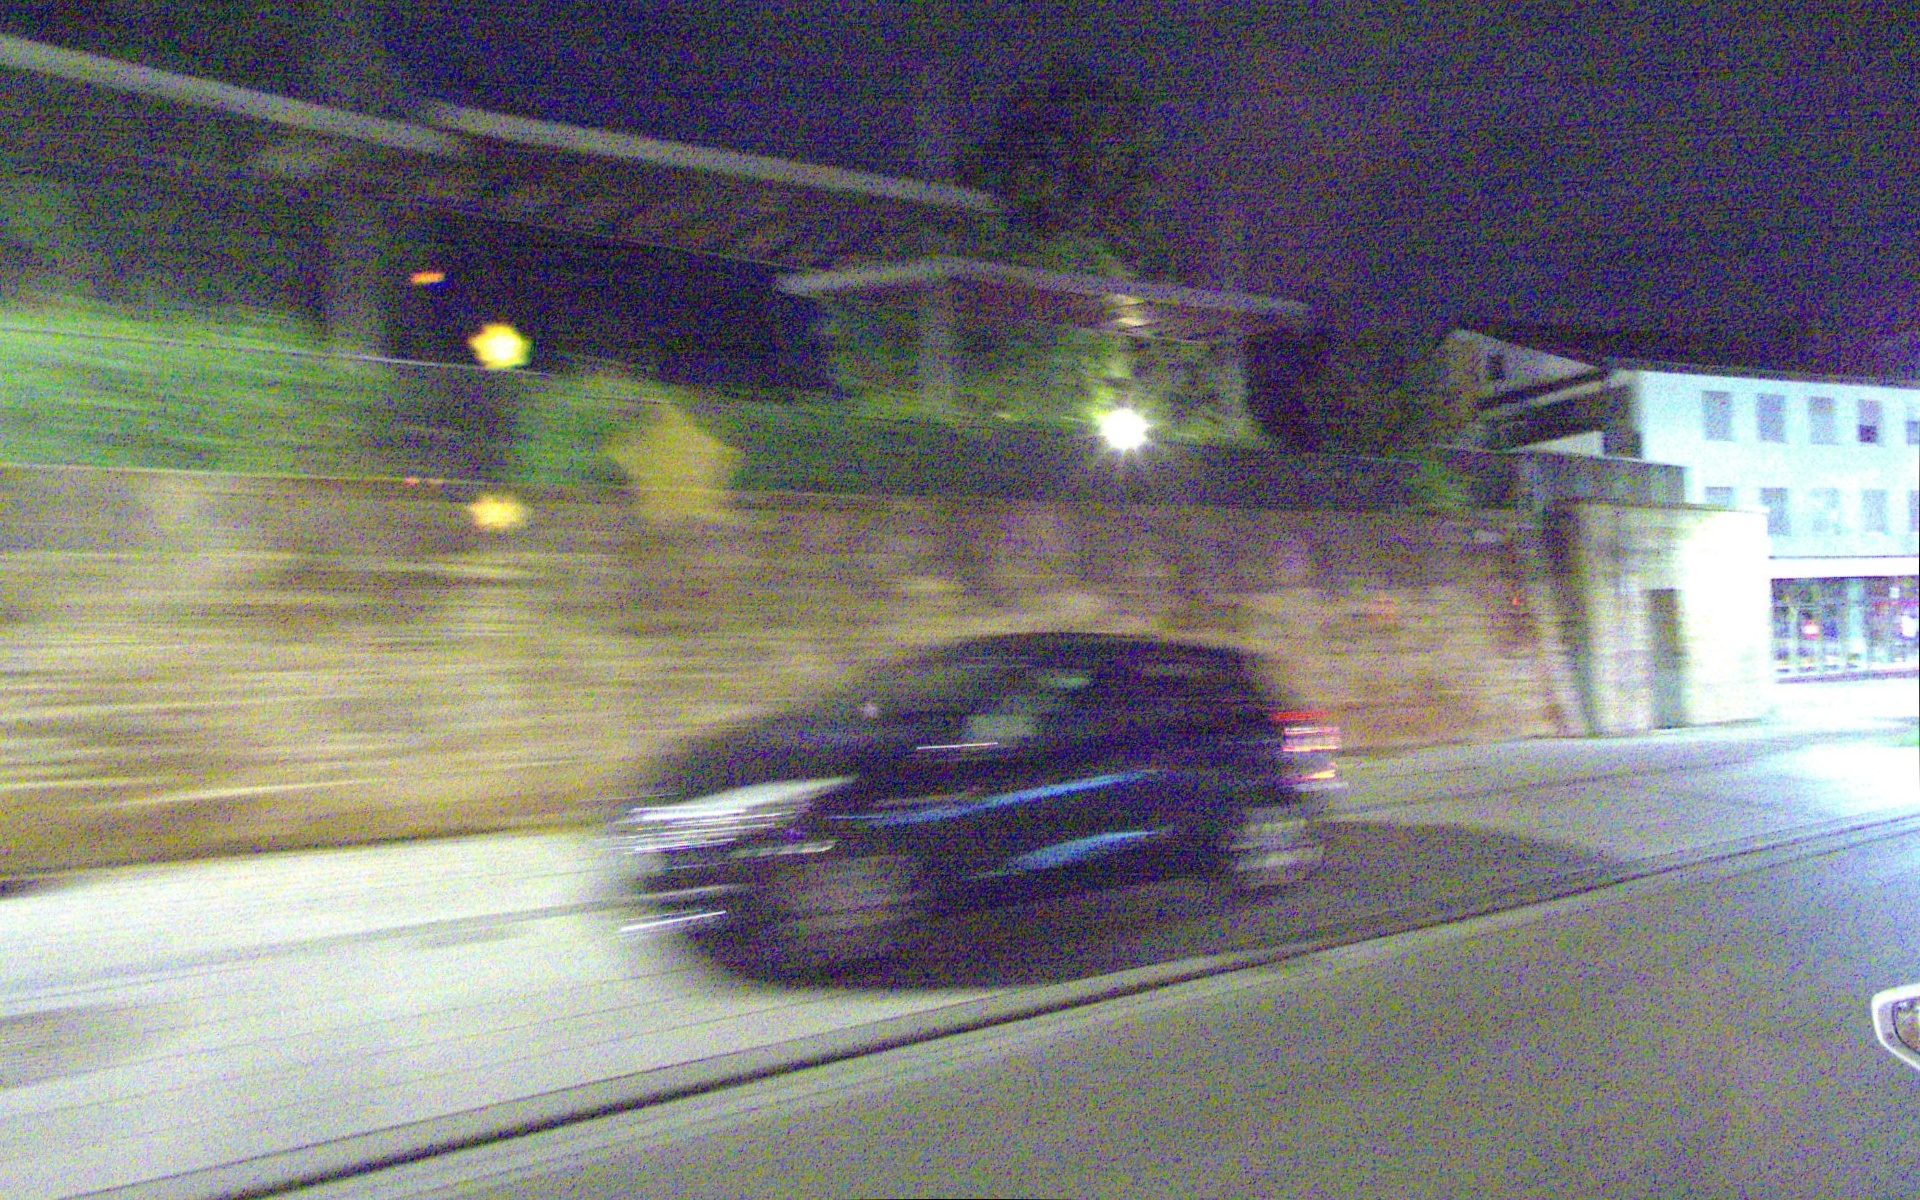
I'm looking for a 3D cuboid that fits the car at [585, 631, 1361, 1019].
[{"bbox_3d":[0.178,0.924,5.641,4.078,1.456,1.684,1,0,-30],"label":"car"}]
